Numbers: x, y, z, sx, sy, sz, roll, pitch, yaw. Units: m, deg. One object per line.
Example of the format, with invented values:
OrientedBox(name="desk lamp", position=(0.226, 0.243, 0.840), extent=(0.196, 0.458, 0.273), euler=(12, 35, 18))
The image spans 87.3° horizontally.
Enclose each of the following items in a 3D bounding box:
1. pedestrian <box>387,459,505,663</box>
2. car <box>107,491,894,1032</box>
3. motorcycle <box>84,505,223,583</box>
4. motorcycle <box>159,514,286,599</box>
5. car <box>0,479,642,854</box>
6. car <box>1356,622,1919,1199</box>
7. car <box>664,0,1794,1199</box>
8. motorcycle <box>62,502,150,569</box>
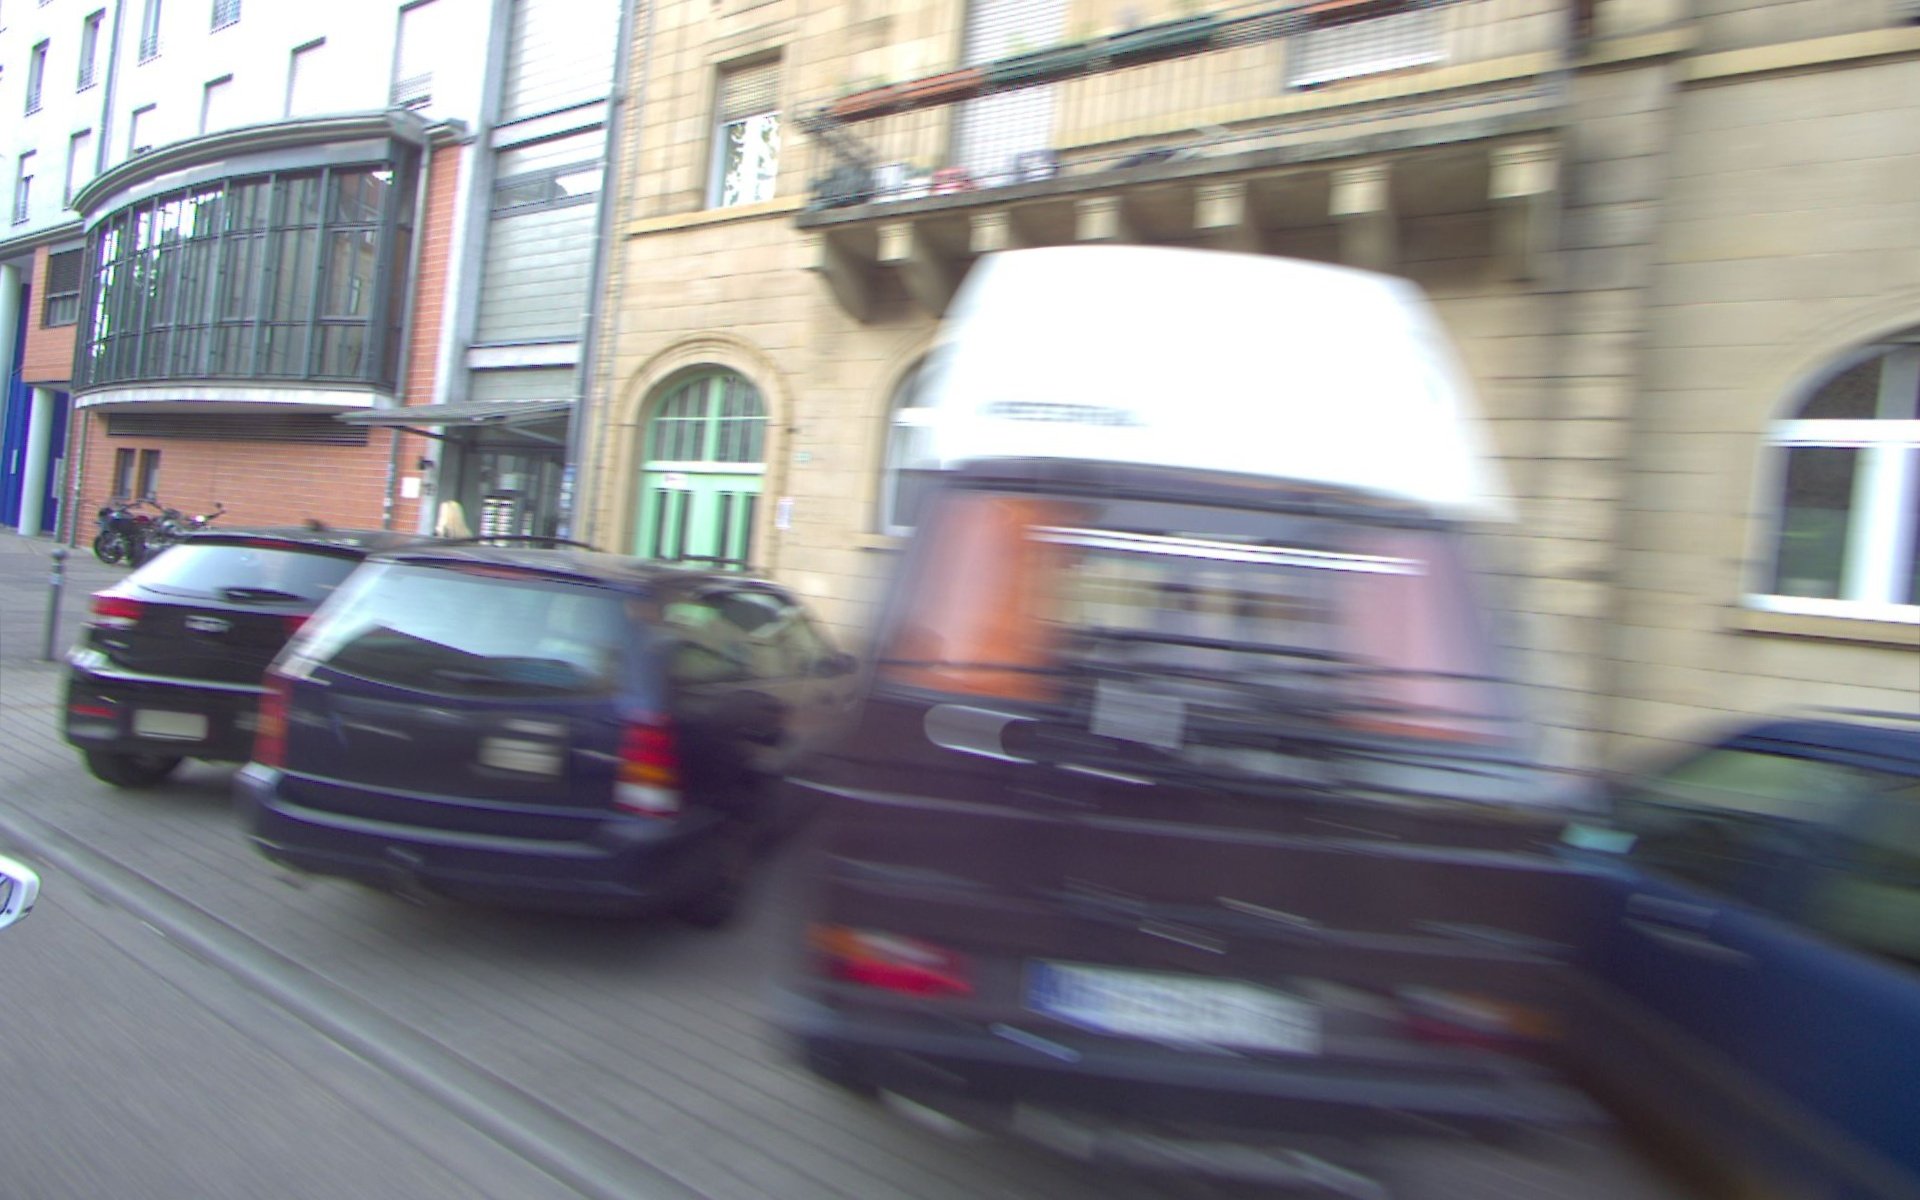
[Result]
OrientedBox(name="pedestrian", position=(-5.432, -0.408, 10.627), extent=(0.844, 2.039, 0.607), euler=(7, 1, 33))
OrientedBox(name="car", position=(-1.663, 0.563, 5.439), extent=(1.877, 1.520, 4.359), euler=(7, -1, 4))
OrientedBox(name="motorcycle", position=(-14.667, -1.021, 18.287), extent=(2.371, 1.154, 0.777), euler=(6, 1, 19))
OrientedBox(name="motorcycle", position=(-12.187, -0.730, 16.605), extent=(2.399, 1.154, 0.800), euler=(7, 2, 31))
OrientedBox(name="car", position=(-3.674, 0.329, 6.580), extent=(1.692, 1.510, 4.070), euler=(7, -1, 1))
OrientedBox(name="car", position=(2.743, 0.995, 2.402), extent=(1.809, 1.506, 4.395), euler=(6, 2, 2))
OrientedBox(name="car", position=(0.582, 0.250, 4.266), extent=(1.882, 2.577, 4.728), euler=(6, -1, 3))
OrientedBox(name="motorcycle", position=(-16.636, -1.266, 19.591), extent=(2.048, 1.118, 0.588), euler=(6, 3, 29))
